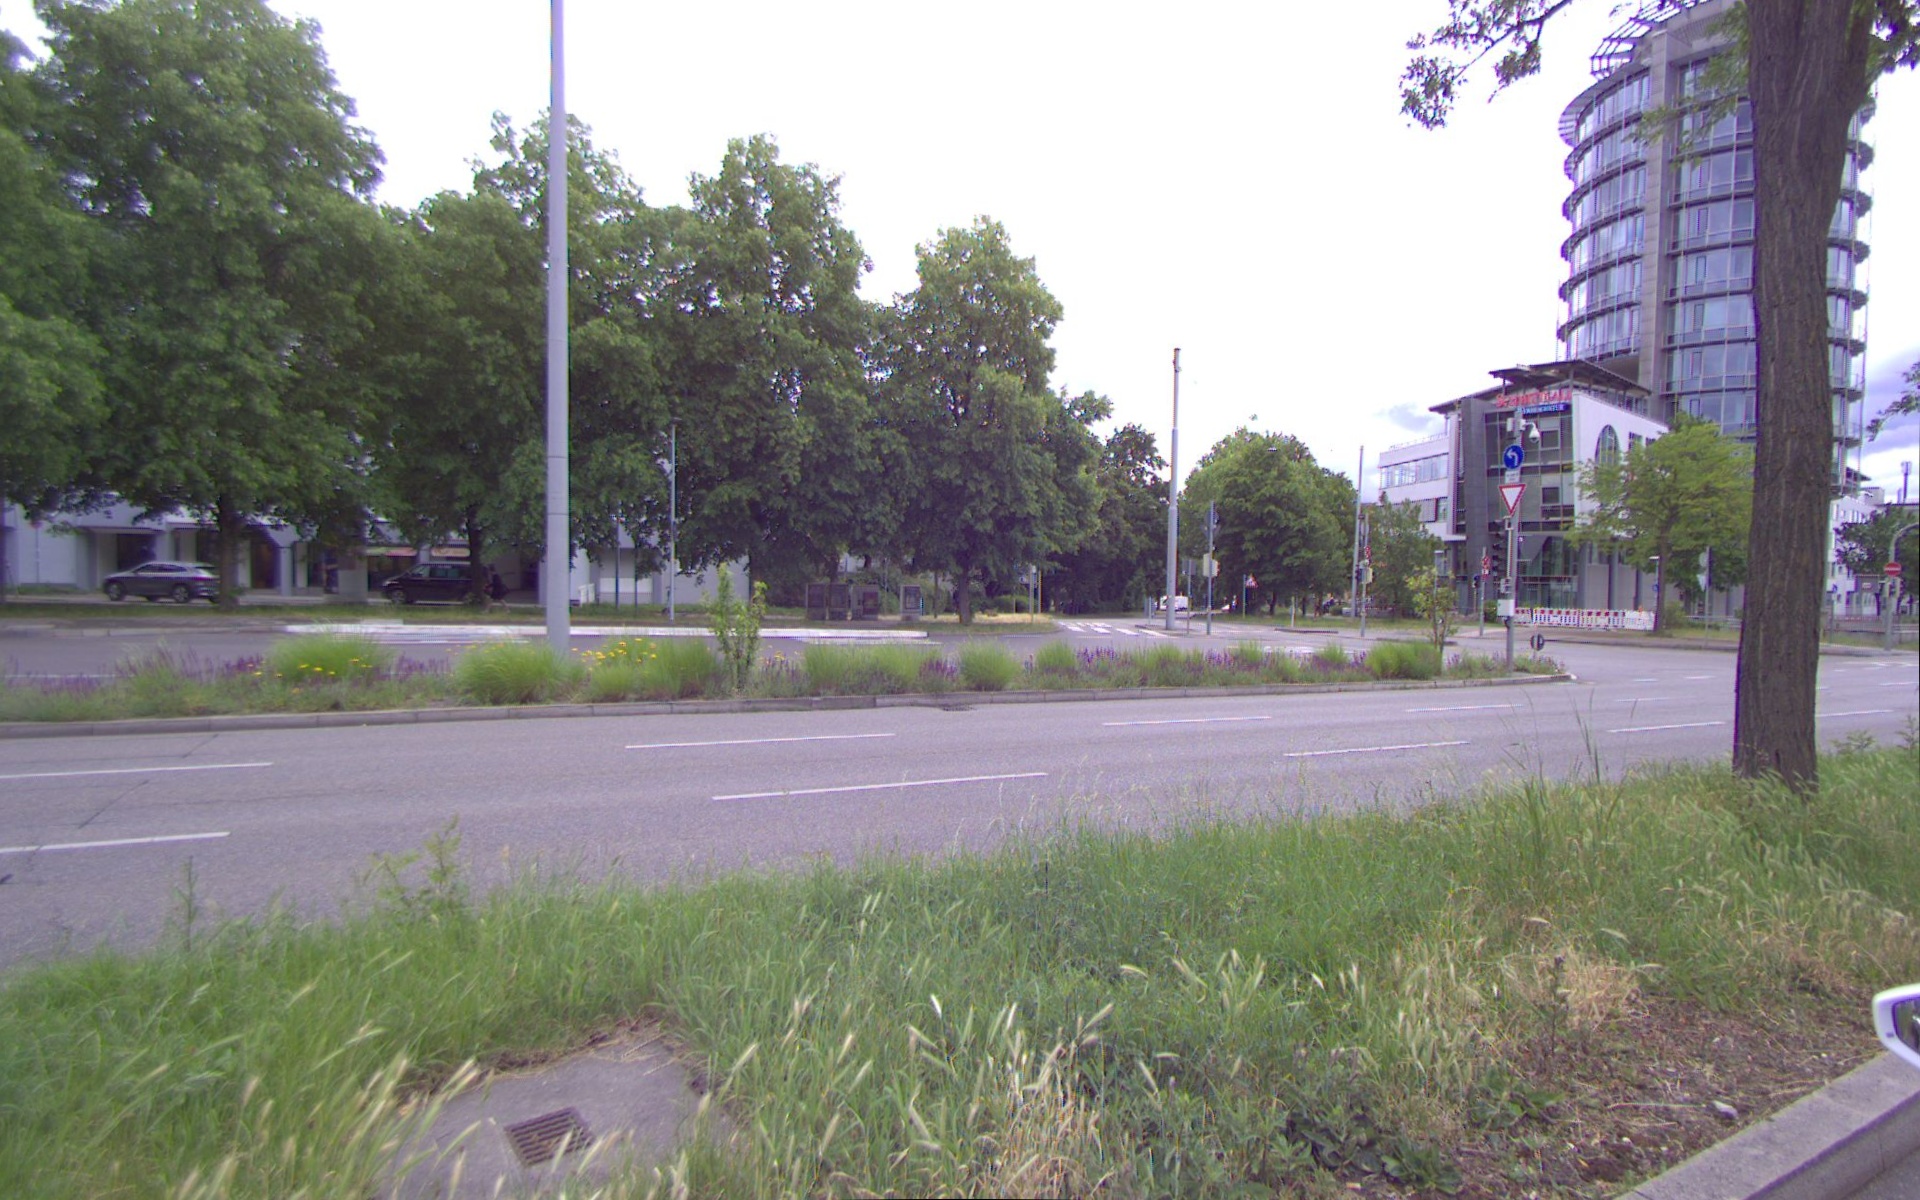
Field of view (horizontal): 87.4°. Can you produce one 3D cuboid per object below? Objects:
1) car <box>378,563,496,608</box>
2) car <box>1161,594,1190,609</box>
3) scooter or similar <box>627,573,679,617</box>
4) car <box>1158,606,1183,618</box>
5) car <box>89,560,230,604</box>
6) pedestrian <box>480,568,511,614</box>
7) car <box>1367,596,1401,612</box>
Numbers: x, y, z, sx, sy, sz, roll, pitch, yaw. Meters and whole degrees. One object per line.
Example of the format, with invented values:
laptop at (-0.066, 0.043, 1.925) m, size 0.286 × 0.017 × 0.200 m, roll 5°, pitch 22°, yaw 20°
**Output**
car at (-23.312, -0.639, 44.948) m, size 4.345 × 1.872 × 1.781 m, roll 1°, pitch 1°, yaw -16°
car at (37.730, 0.246, 175.674) m, size 4.475 × 2.370 × 1.994 m, roll 2°, pitch 0°, yaw -16°
scooter or similar at (-11.866, -0.184, 38.850) m, size 1.835 × 1.686 × 0.645 m, roll 1°, pitch 1°, yaw -43°
car at (35.315, 2.010, 168.881) m, size 1.707 × 2.040 × 3.957 m, roll 1°, pitch 1°, yaw -37°
car at (-30.948, -0.681, 38.922) m, size 3.924 × 1.532 × 1.758 m, roll 1°, pitch 1°, yaw -6°
pedestrian at (-16.115, -0.314, 34.872) m, size 0.894 × 1.578 × 0.766 m, roll 1°, pitch 1°, yaw -30°
car at (25.045, 0.232, 59.393) m, size 1.684 × 0.888 × 0.776 m, roll 1°, pitch 0°, yaw 7°
